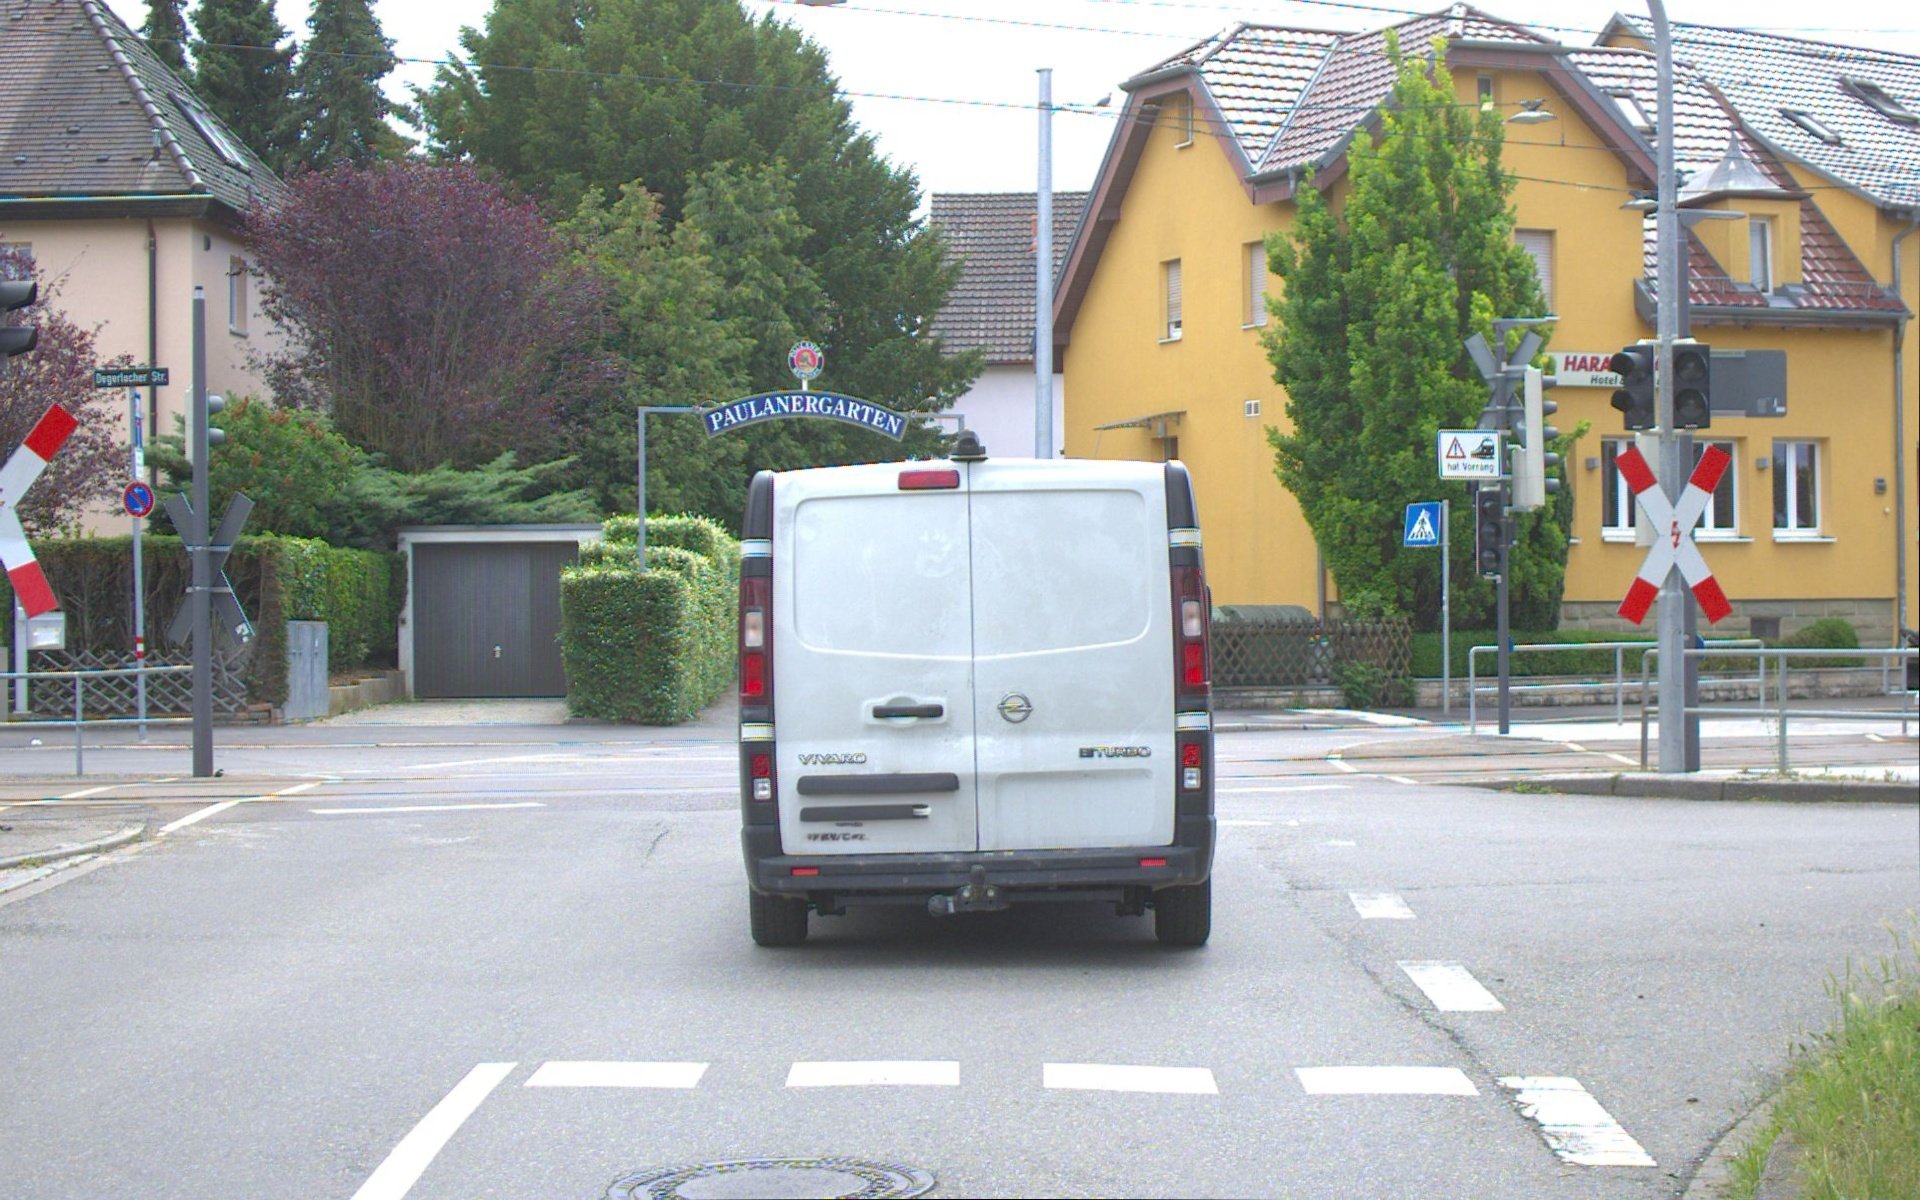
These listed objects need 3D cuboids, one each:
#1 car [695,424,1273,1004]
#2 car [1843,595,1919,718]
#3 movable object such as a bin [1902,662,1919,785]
[{"bbox_3d":[-0.010,0.411,15.358,2.116,2.127,5.441,0,0,-2],"label":"car"},{"bbox_3d":[14.086,0.756,45.267,4.358,1.559,2.363,1,0,-31],"label":"car"},{"bbox_3d":[6.978,0.828,23.155,1.091,0.822,0.579,0,0,-5],"label":"movable object such as a bin"}]
